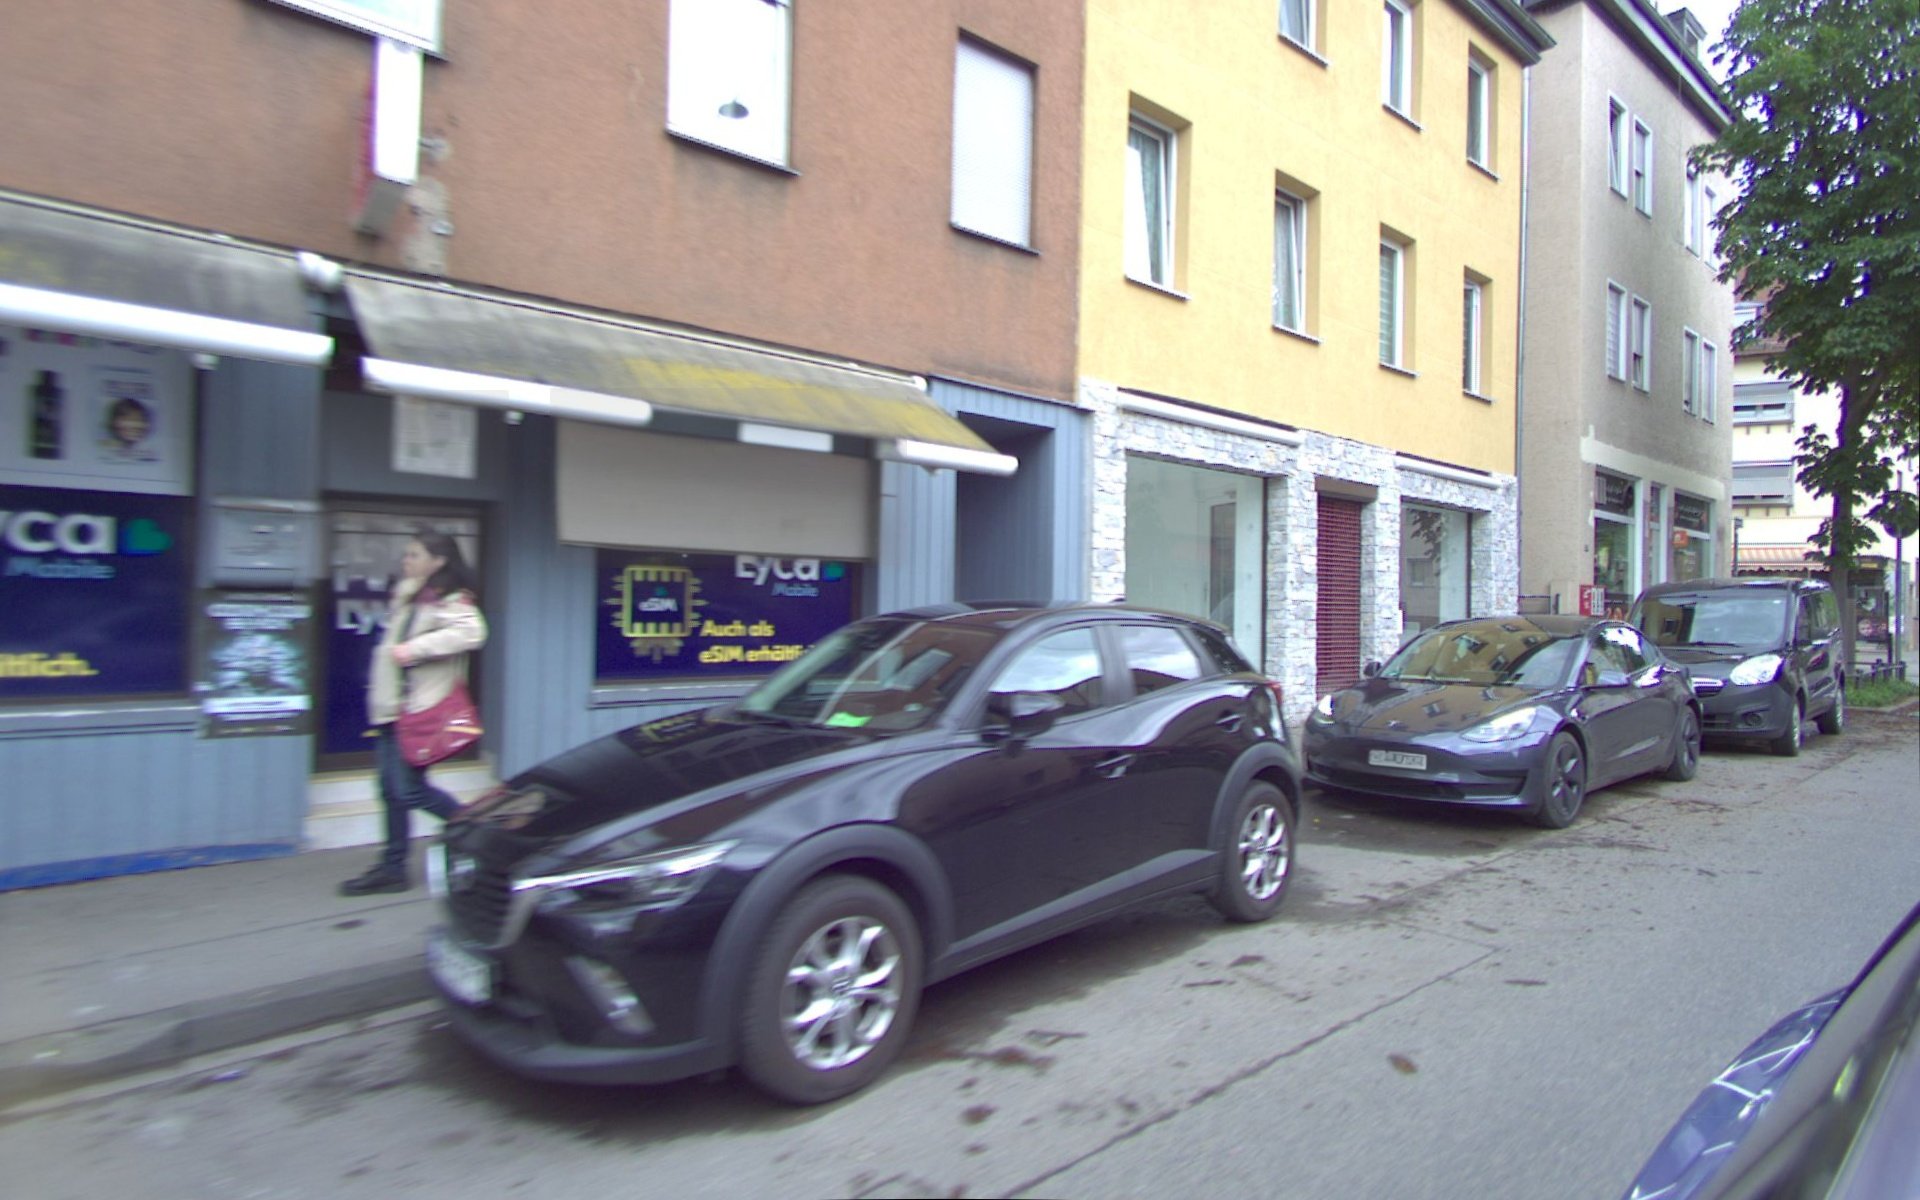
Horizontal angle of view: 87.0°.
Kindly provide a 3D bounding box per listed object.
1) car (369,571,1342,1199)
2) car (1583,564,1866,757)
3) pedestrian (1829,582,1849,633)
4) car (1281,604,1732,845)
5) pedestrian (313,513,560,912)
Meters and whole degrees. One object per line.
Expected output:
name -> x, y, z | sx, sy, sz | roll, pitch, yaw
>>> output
car -> -0.057, 0.699, 4.429 | 4.139, 1.538, 1.603 | 0, -1, -44
car -> 8.847, 0.551, 11.561 | 4.328, 1.803, 1.822 | 0, 0, -42
pedestrian -> 31.050, 0.275, 35.745 | 0.391, 1.797, 0.385 | -1, -1, 17
car -> 4.664, 0.773, 8.327 | 4.431, 1.423, 1.755 | 0, 1, -40
pedestrian -> -2.469, 0.464, 4.781 | 0.873, 1.670, 0.702 | 1, 0, -41
